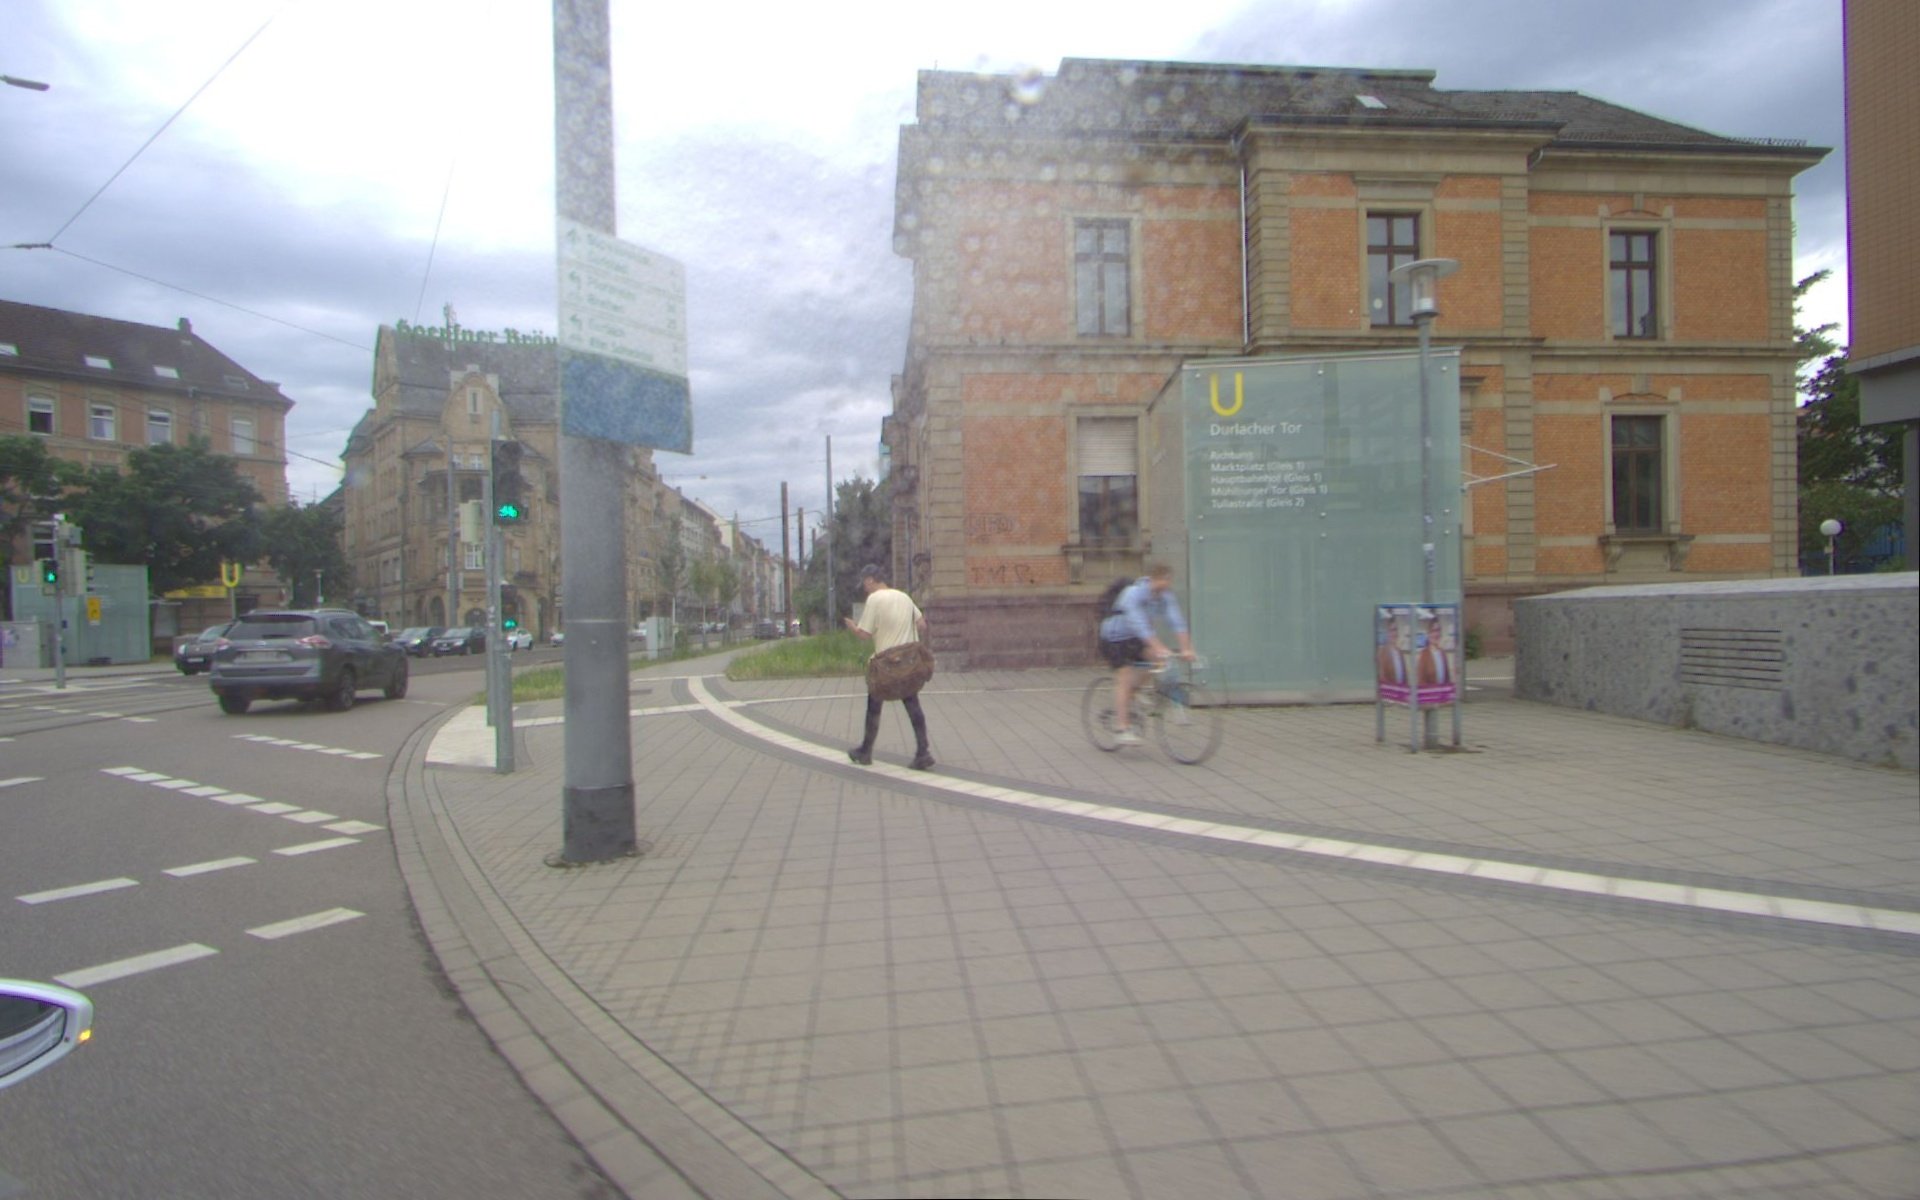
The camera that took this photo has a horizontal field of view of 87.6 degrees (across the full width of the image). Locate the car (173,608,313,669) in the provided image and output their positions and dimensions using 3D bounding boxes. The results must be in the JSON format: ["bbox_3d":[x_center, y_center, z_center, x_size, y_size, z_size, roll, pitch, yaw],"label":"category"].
[{"bbox_3d":[-24.183,1.265,33.987,1.661,1.925,4.387,-1,-1,-1],"label":"car"}]

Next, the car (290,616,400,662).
[{"bbox_3d":[-27.647,1.713,45.246,1.832,1.941,5.101,-1,-1,0],"label":"car"}]

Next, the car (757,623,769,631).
[{"bbox_3d":[-38.239,5.231,194.099,1.731,1.468,4.614,-1,-1,-5],"label":"car"}]

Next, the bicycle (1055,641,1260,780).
[{"bbox_3d":[1.639,0.888,8.618,0.663,0.946,1.849,-4,2,-30],"label":"bicycle"}]

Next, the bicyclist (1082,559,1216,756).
[{"bbox_3d":[1.622,0.460,8.656,0.683,1.582,0.921,-3,2,-31],"label":"bicyclist"}]

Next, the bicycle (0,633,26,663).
[{"bbox_3d":[-44.064,2.214,46.290,0.949,1.371,3.099,0,-2,-37],"label":"bicycle"}]

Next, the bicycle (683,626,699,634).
[{"bbox_3d":[-34.020,3.796,126.493,1.892,1.014,0.463,-1,0,-13],"label":"bicycle"}]

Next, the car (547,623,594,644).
[{"bbox_3d":[-28.436,2.440,73.206,1.895,1.398,4.258,-1,-1,-2],"label":"car"}]

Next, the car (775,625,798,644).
[{"bbox_3d":[-15.994,3.142,92.337,1.727,1.595,3.930,-3,-1,-6],"label":"car"}]

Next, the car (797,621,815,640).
[{"bbox_3d":[-19.043,3.750,123.910,1.821,2.142,4.984,-4,-1,-5],"label":"car"}]

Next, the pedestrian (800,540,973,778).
[{"bbox_3d":[-0.654,0.485,8.748,0.878,1.892,1.274,-1,0,-43],"label":"pedestrian"}]

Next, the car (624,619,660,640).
[{"bbox_3d":[-27.680,2.540,87.303,1.833,1.728,4.909,-2,-1,-4],"label":"car"}]

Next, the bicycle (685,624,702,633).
[{"bbox_3d":[-35.186,3.810,132.162,2.196,1.141,0.503,-1,0,-13],"label":"bicycle"}]

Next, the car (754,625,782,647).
[{"bbox_3d":[-14.501,2.691,75.789,1.611,1.452,3.930,-3,-1,-6],"label":"car"}]

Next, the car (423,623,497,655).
[{"bbox_3d":[-24.391,1.864,49.018,1.661,1.460,4.001,-1,-1,-1],"label":"car"}]

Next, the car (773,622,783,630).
[{"bbox_3d":[-39.019,5.602,215.014,1.731,1.693,4.614,-1,-1,-5],"label":"car"}]

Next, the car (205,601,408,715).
[{"bbox_3d":[-11.300,0.938,17.645,1.723,1.778,3.920,0,-1,-13],"label":"car"}]

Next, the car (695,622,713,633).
[{"bbox_3d":[-34.855,3.751,136.353,1.747,1.524,4.401,-1,-1,-5],"label":"car"}]

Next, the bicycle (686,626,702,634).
[{"bbox_3d":[-34.783,3.950,130.802,1.936,1.014,0.463,-1,0,-13],"label":"bicycle"}]

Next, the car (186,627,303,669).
[{"bbox_3d":[-27.291,1.809,38.351,1.661,1.460,4.001,-1,-1,-1],"label":"car"}]

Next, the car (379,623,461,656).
[{"bbox_3d":[-27.588,1.988,51.328,1.833,1.554,4.303,-3,-1,0],"label":"car"}]

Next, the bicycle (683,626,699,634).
[{"bbox_3d":[-34.196,3.809,127.473,1.936,1.014,0.463,-1,0,-13],"label":"bicycle"}]

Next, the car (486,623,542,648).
[{"bbox_3d":[-27.914,2.211,62.806,1.718,1.397,4.362,-4,-1,-4],"label":"car"}]

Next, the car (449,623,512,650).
[{"bbox_3d":[-27.583,2.068,57.739,1.833,1.417,3.895,-3,-1,-2],"label":"car"}]
